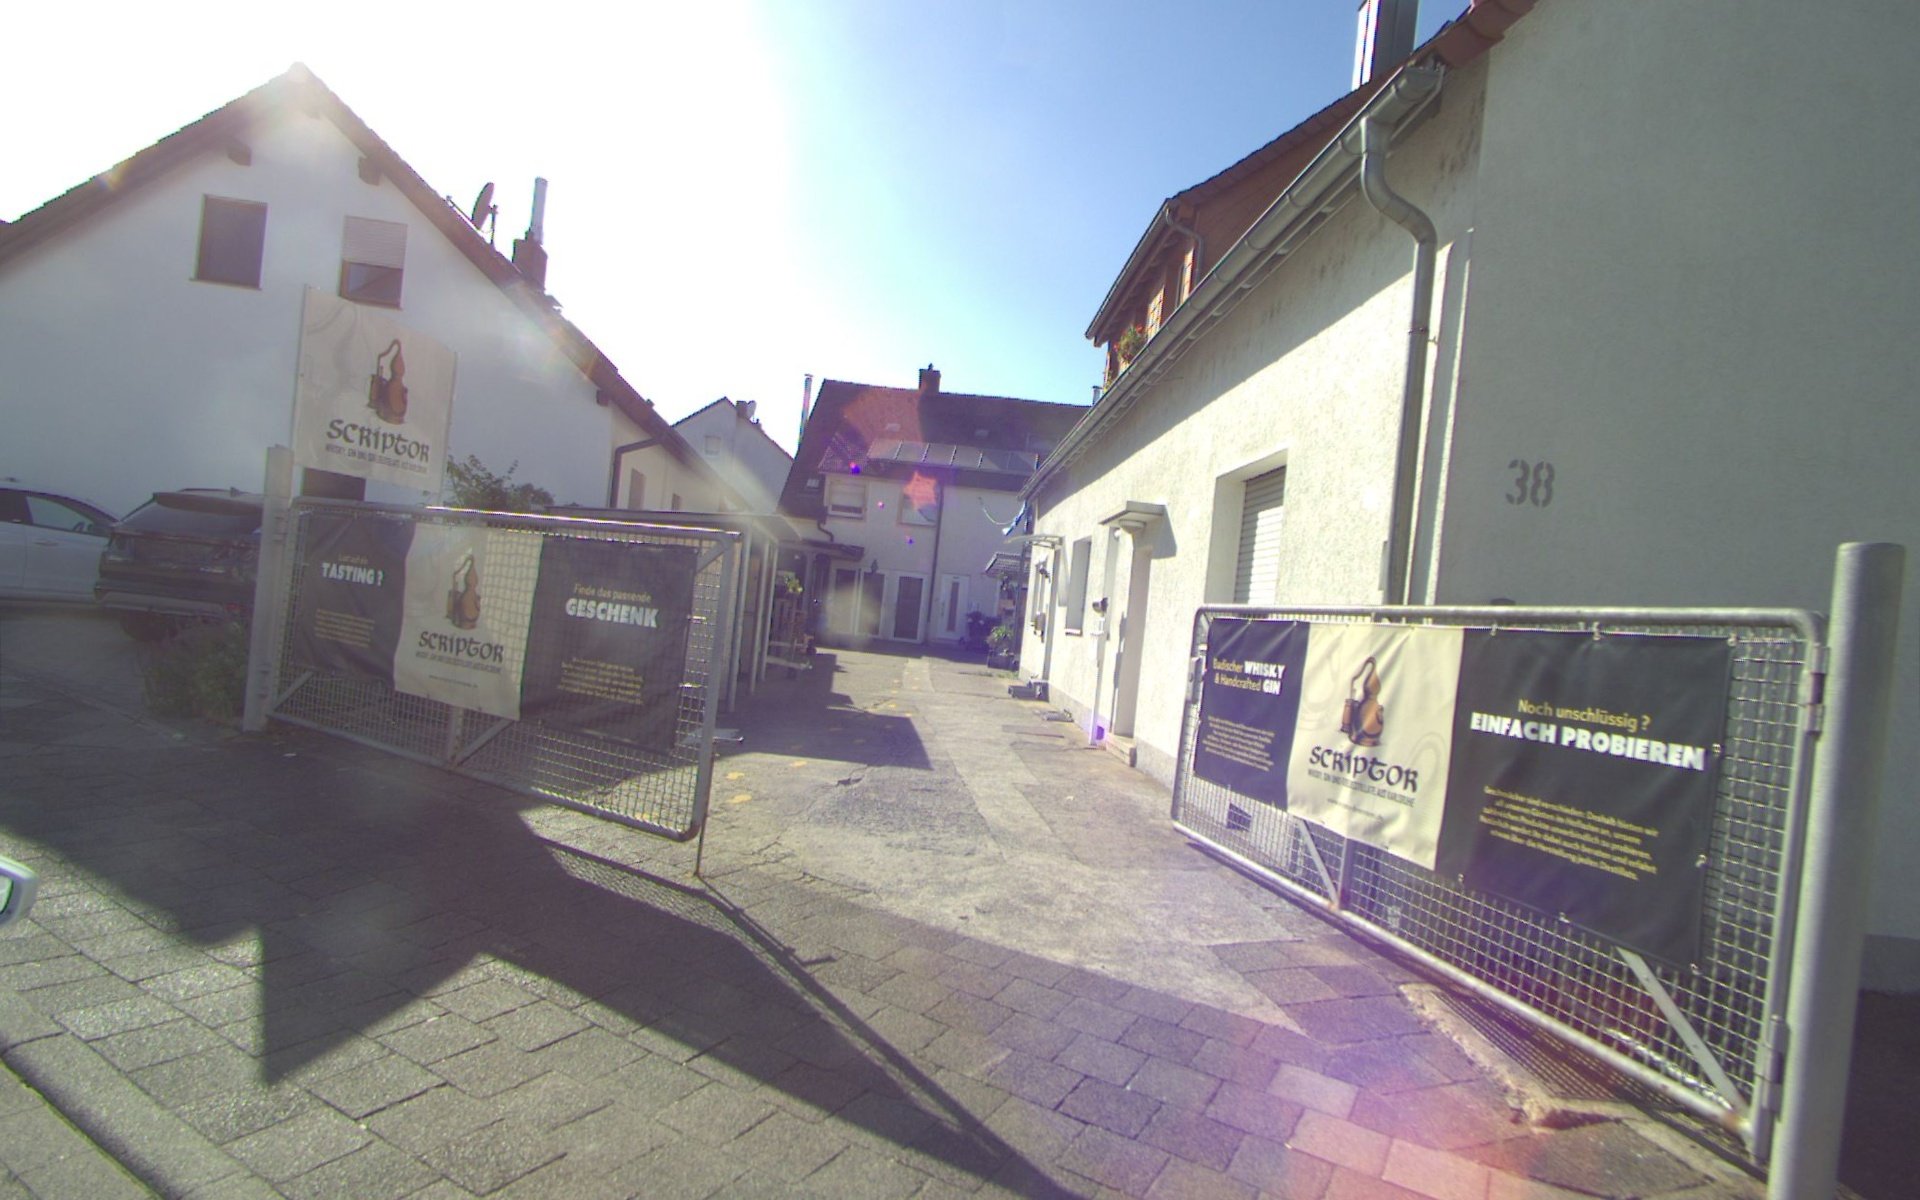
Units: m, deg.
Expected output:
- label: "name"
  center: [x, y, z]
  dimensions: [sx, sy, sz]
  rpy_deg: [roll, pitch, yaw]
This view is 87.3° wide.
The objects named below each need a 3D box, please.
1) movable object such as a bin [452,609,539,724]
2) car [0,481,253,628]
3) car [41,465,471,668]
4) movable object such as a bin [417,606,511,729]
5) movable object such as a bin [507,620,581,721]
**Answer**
- label: "movable object such as a bin"
  center: [-4.058, 0.581, 8.815]
  dimensions: [0.415, 0.933, 0.517]
  rpy_deg: [6, -2, 0]
- label: "car"
  center: [-11.062, -0.594, 11.987]
  dimensions: [1.820, 1.511, 3.909]
  rpy_deg: [6, 0, 38]
- label: "car"
  center: [-7.645, -0.312, 11.530]
  dimensions: [1.876, 1.709, 4.049]
  rpy_deg: [7, 0, 2]
- label: "movable object such as a bin"
  center: [-4.067, 0.552, 8.275]
  dimensions: [0.415, 0.933, 0.517]
  rpy_deg: [6, -2, 0]
- label: "movable object such as a bin"
  center: [-4.122, 0.692, 10.000]
  dimensions: [0.415, 0.933, 0.517]
  rpy_deg: [6, -2, 0]
